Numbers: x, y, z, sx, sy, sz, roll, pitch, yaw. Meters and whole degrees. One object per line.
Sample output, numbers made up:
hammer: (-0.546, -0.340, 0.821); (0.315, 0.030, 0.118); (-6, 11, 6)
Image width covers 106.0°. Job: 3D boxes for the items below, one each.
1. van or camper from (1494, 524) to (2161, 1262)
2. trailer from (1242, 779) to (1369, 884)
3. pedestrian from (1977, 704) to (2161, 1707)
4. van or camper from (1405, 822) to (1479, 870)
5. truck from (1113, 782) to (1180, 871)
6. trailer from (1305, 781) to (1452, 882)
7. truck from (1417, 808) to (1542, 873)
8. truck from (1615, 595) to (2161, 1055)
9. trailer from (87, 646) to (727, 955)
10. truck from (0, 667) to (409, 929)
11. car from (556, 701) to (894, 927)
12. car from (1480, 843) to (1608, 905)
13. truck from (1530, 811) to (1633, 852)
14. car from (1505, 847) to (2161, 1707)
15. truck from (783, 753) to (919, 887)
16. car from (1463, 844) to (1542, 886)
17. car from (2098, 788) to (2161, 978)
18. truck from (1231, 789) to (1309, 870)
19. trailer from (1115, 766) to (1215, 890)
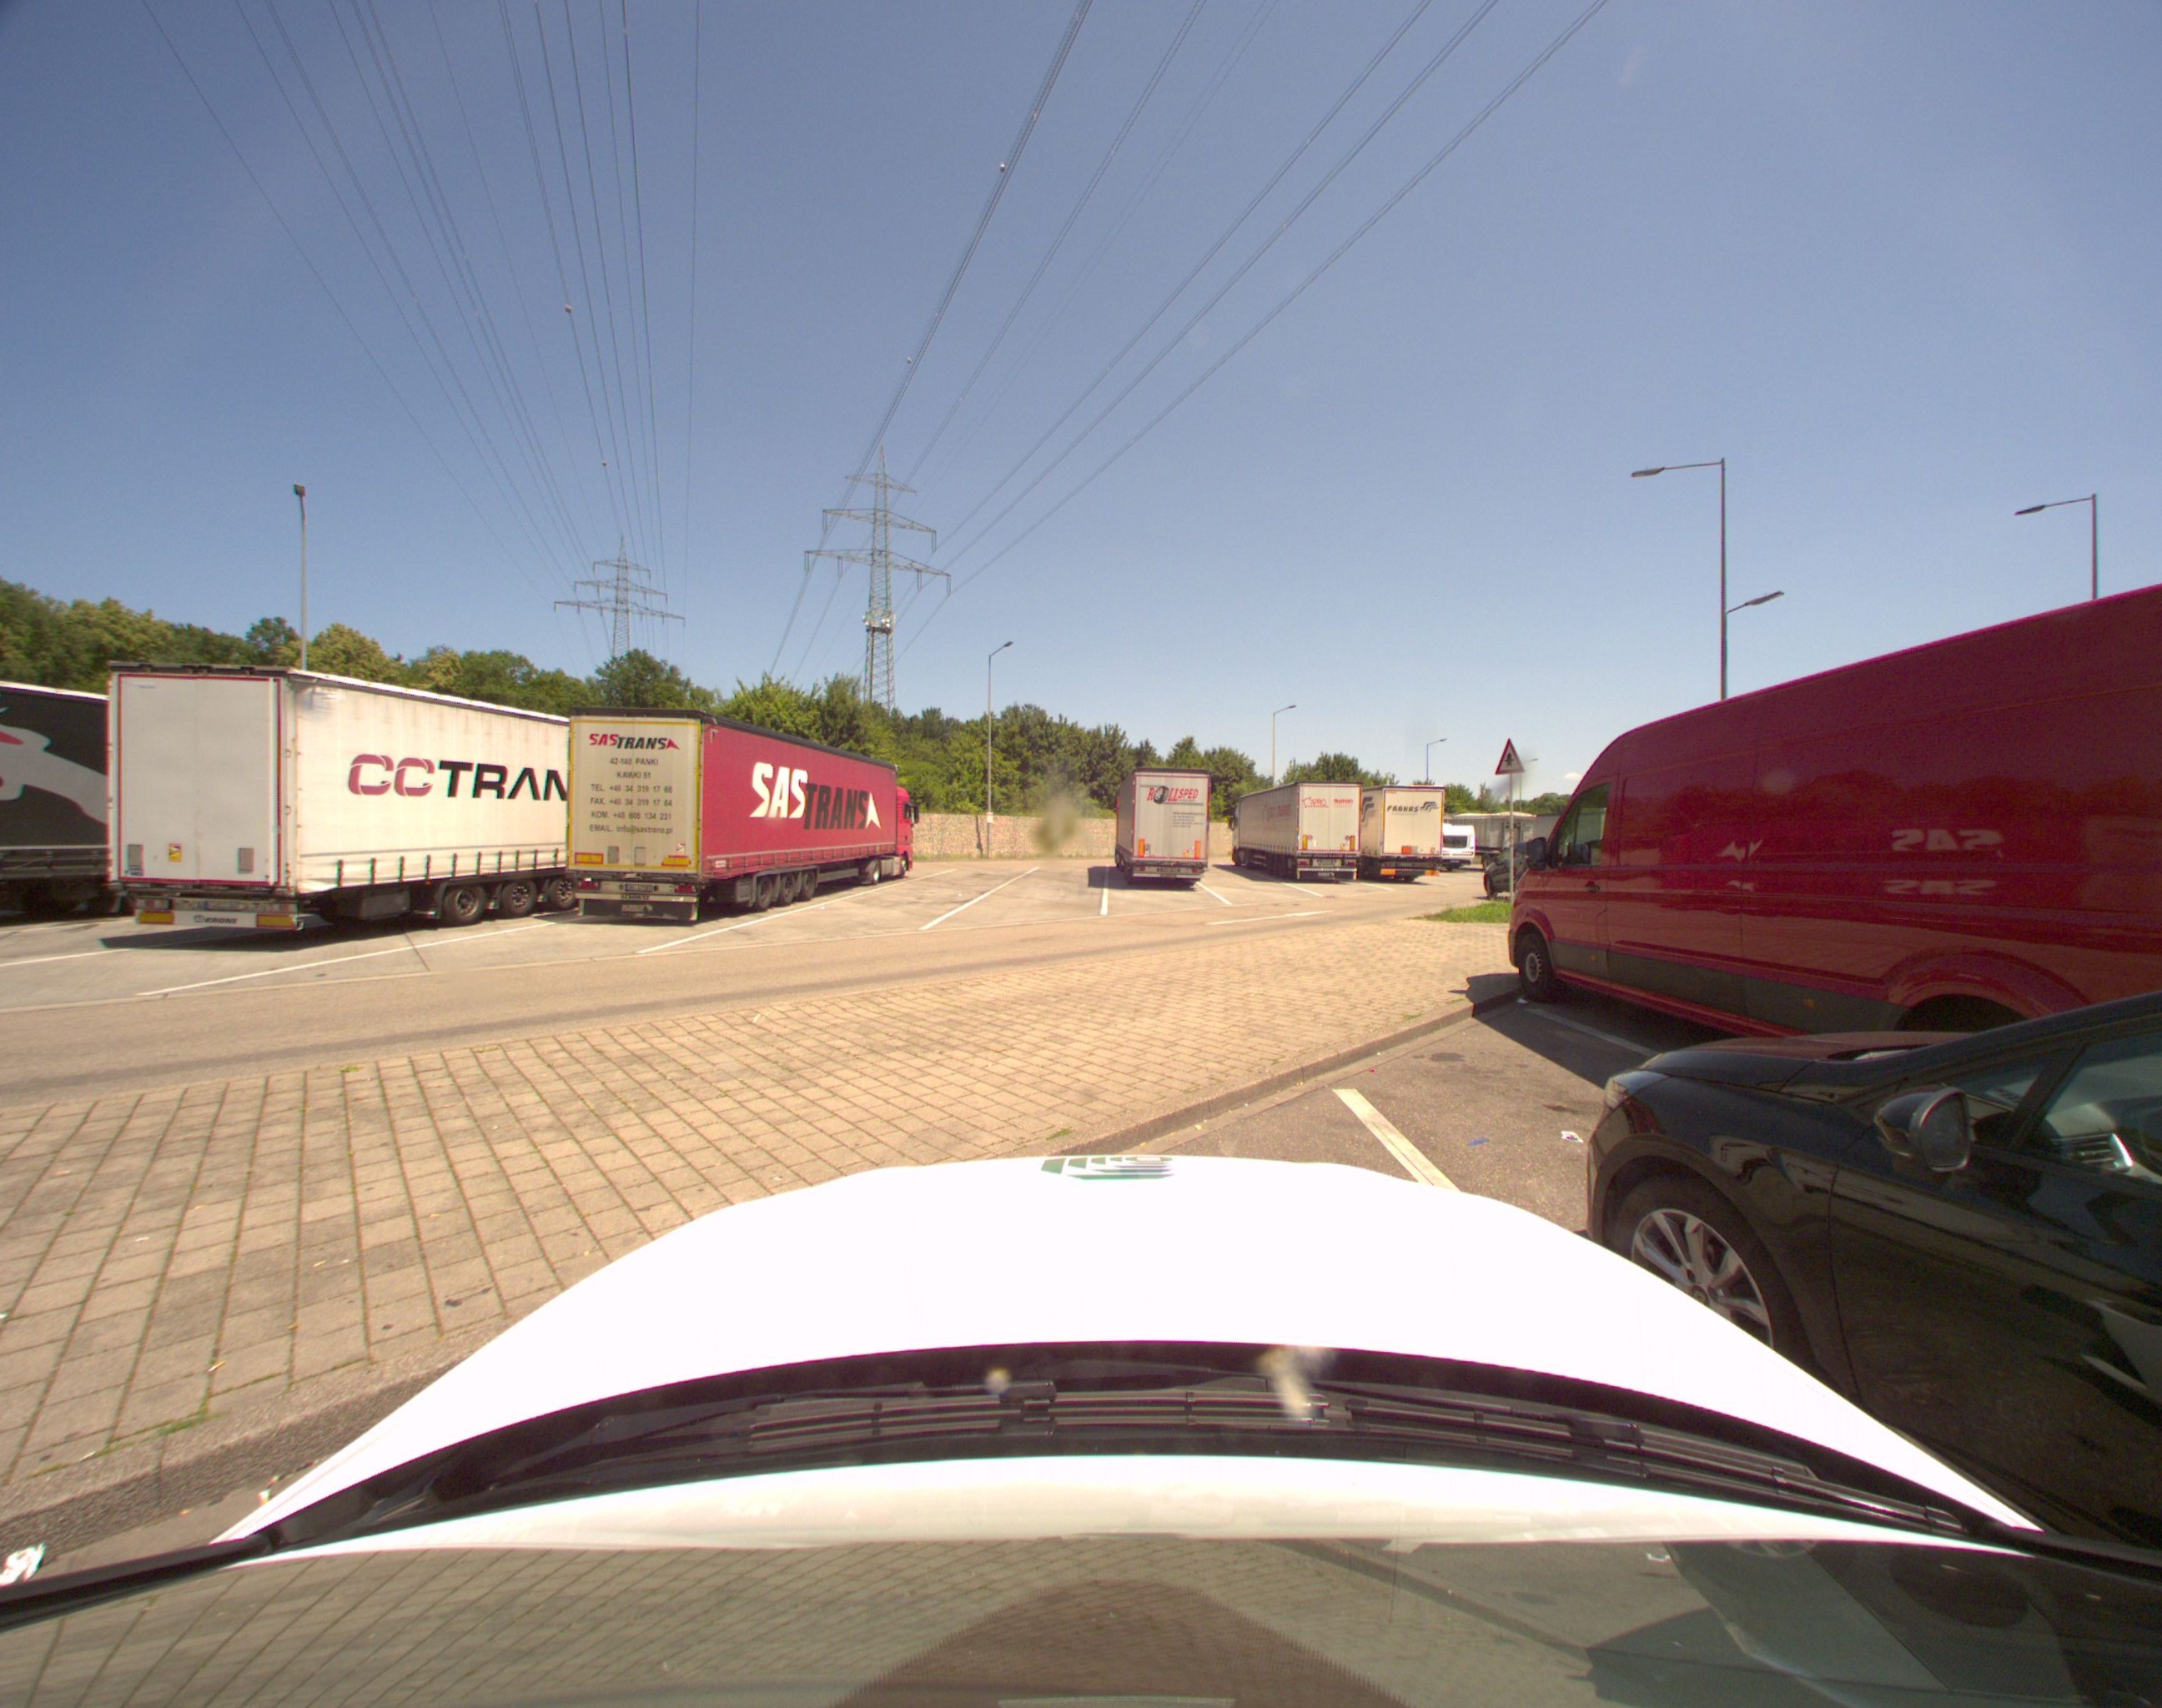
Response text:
van or camper: (5.140, 0.095, 5.492); (1.986, 2.654, 6.490); (-1, 1, 6)
trailer: (9.951, -1.110, 37.902); (2.856, 4.037, 12.445); (0, 2, 2)
pedestrian: (1.382, 0.654, 0.790); (0.646, 1.586, 0.652); (0, 1, 44)
van or camper: (20.587, -0.475, 46.743); (2.096, 2.561, 5.376); (-1, 1, 3)
truck: (3.135, -1.399, 40.817); (2.857, 4.037, 7.029); (0, 2, 1)
trailer: (13.638, -1.131, 38.878); (2.856, 4.037, 12.445); (0, 2, 2)
truck: (24.296, -0.967, 50.502); (2.478, 3.568, 11.429); (0, 2, 2)
truck: (7.940, -0.217, 7.065); (2.455, 2.792, 6.978); (0, 1, 4)
trailer: (-12.163, -0.978, 17.787); (2.803, 4.266, 12.947); (0, 2, 2)
truck: (-18.618, -1.023, 16.267); (2.803, 4.190, 8.793); (0, 2, 2)
car: (-8.050, -0.937, 21.431); (2.686, 4.112, 12.943); (1, 2, 2)
car: (12.613, 0.483, 22.465); (1.831, 1.561, 3.960); (-1, 1, 10)
truck: (38.028, -1.657, 62.382); (2.117, 2.820, 9.783); (-1, 1, 2)
car: (2.457, 0.750, 1.140); (1.612, 1.483, 3.762); (-1, 1, -4)
truck: (-7.751, -1.156, 28.347); (2.686, 4.112, 6.243); (1, 2, 2)
car: (16.825, 0.386, 32.679); (1.583, 1.545, 3.646); (-1, 1, 6)
car: (12.454, 0.238, 7.055); (1.977, 2.150, 5.339); (-4, -2, 20)
truck: (10.176, -1.375, 44.534); (2.856, 4.037, 6.960); (0, 2, 2)
trailer: (3.043, -1.109, 33.729); (2.857, 4.037, 14.244); (0, 2, 1)
